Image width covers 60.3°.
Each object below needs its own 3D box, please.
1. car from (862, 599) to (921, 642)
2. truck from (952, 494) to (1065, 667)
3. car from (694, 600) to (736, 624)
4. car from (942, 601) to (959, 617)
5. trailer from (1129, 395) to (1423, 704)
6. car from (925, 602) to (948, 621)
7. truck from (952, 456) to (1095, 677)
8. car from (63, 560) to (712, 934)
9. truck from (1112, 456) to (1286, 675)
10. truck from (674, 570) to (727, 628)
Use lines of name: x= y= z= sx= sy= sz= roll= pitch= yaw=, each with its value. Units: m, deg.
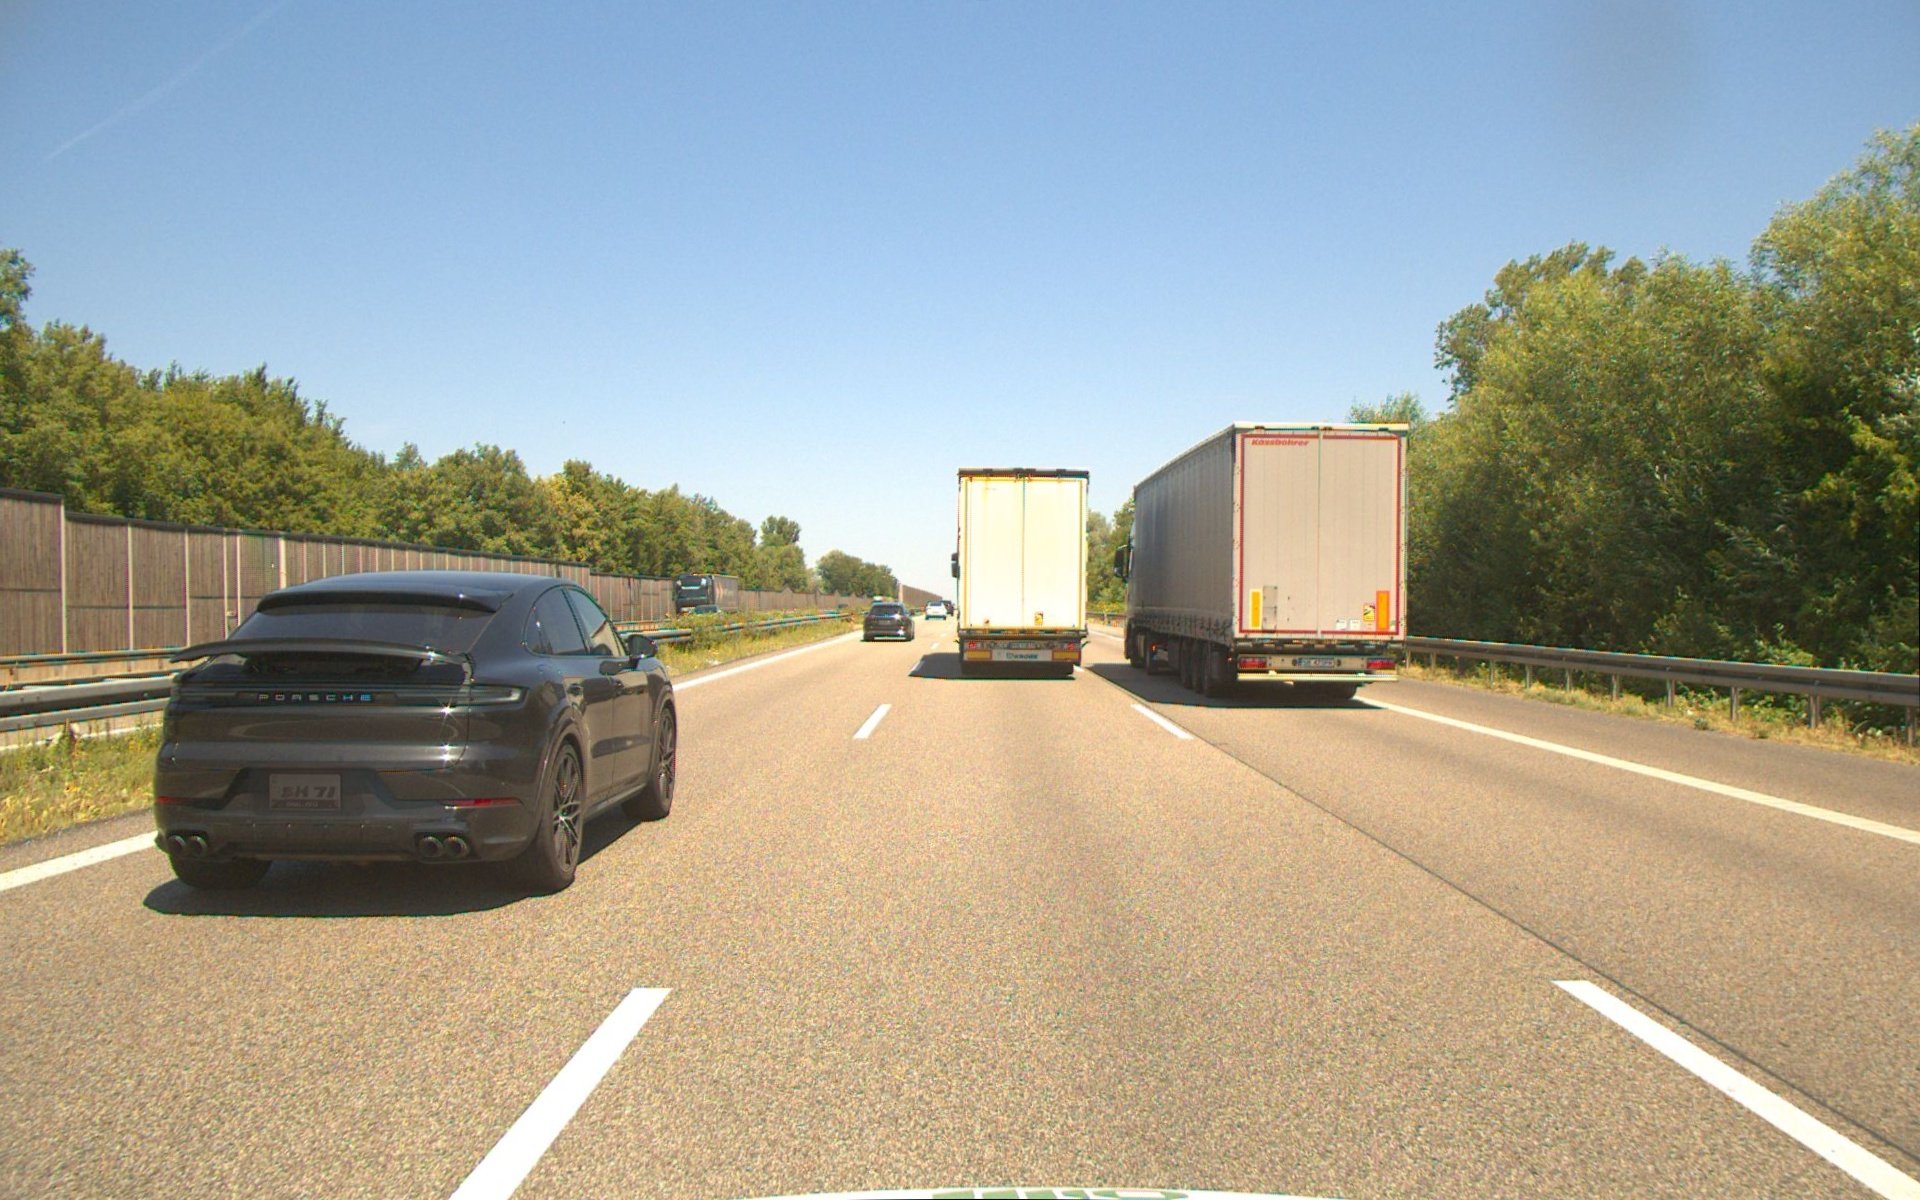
car: x=-2.632 y=0.770 z=64.908 sx=1.903 sy=1.533 sz=5.822 roll=-2 pitch=0 yaw=1
truck: x=1.174 y=-0.480 z=44.035 sx=2.672 sy=4.157 sz=7.276 roll=-1 pitch=0 yaw=0
car: x=-15.266 y=0.732 z=103.250 sx=1.920 sy=1.458 sz=4.879 roll=-1 pitch=0 yaw=-1
car: x=-1.058 y=1.027 z=182.853 sx=1.818 sy=1.645 sz=3.998 roll=-2 pitch=0 yaw=-2
trailer: x=5.130 y=-0.697 z=29.895 sx=2.648 sy=4.289 sz=13.210 roll=-1 pitch=0 yaw=0
car: x=-2.031 y=0.968 z=142.220 sx=1.817 sy=1.512 sz=4.000 roll=-2 pitch=0 yaw=1
truck: x=1.194 y=-0.634 z=38.346 sx=2.651 sy=4.157 sz=13.472 roll=-1 pitch=0 yaw=0
car: x=-2.976 y=0.643 z=10.243 sx=2.002 sy=1.653 sz=5.771 roll=0 pitch=0 yaw=0
truck: x=5.109 y=-0.686 z=36.798 sx=2.636 sy=4.289 sz=7.837 roll=-1 pitch=0 yaw=0
truck: x=-19.531 y=-0.047 z=124.789 sx=2.672 sy=4.157 sz=7.837 roll=-1 pitch=0 yaw=0
